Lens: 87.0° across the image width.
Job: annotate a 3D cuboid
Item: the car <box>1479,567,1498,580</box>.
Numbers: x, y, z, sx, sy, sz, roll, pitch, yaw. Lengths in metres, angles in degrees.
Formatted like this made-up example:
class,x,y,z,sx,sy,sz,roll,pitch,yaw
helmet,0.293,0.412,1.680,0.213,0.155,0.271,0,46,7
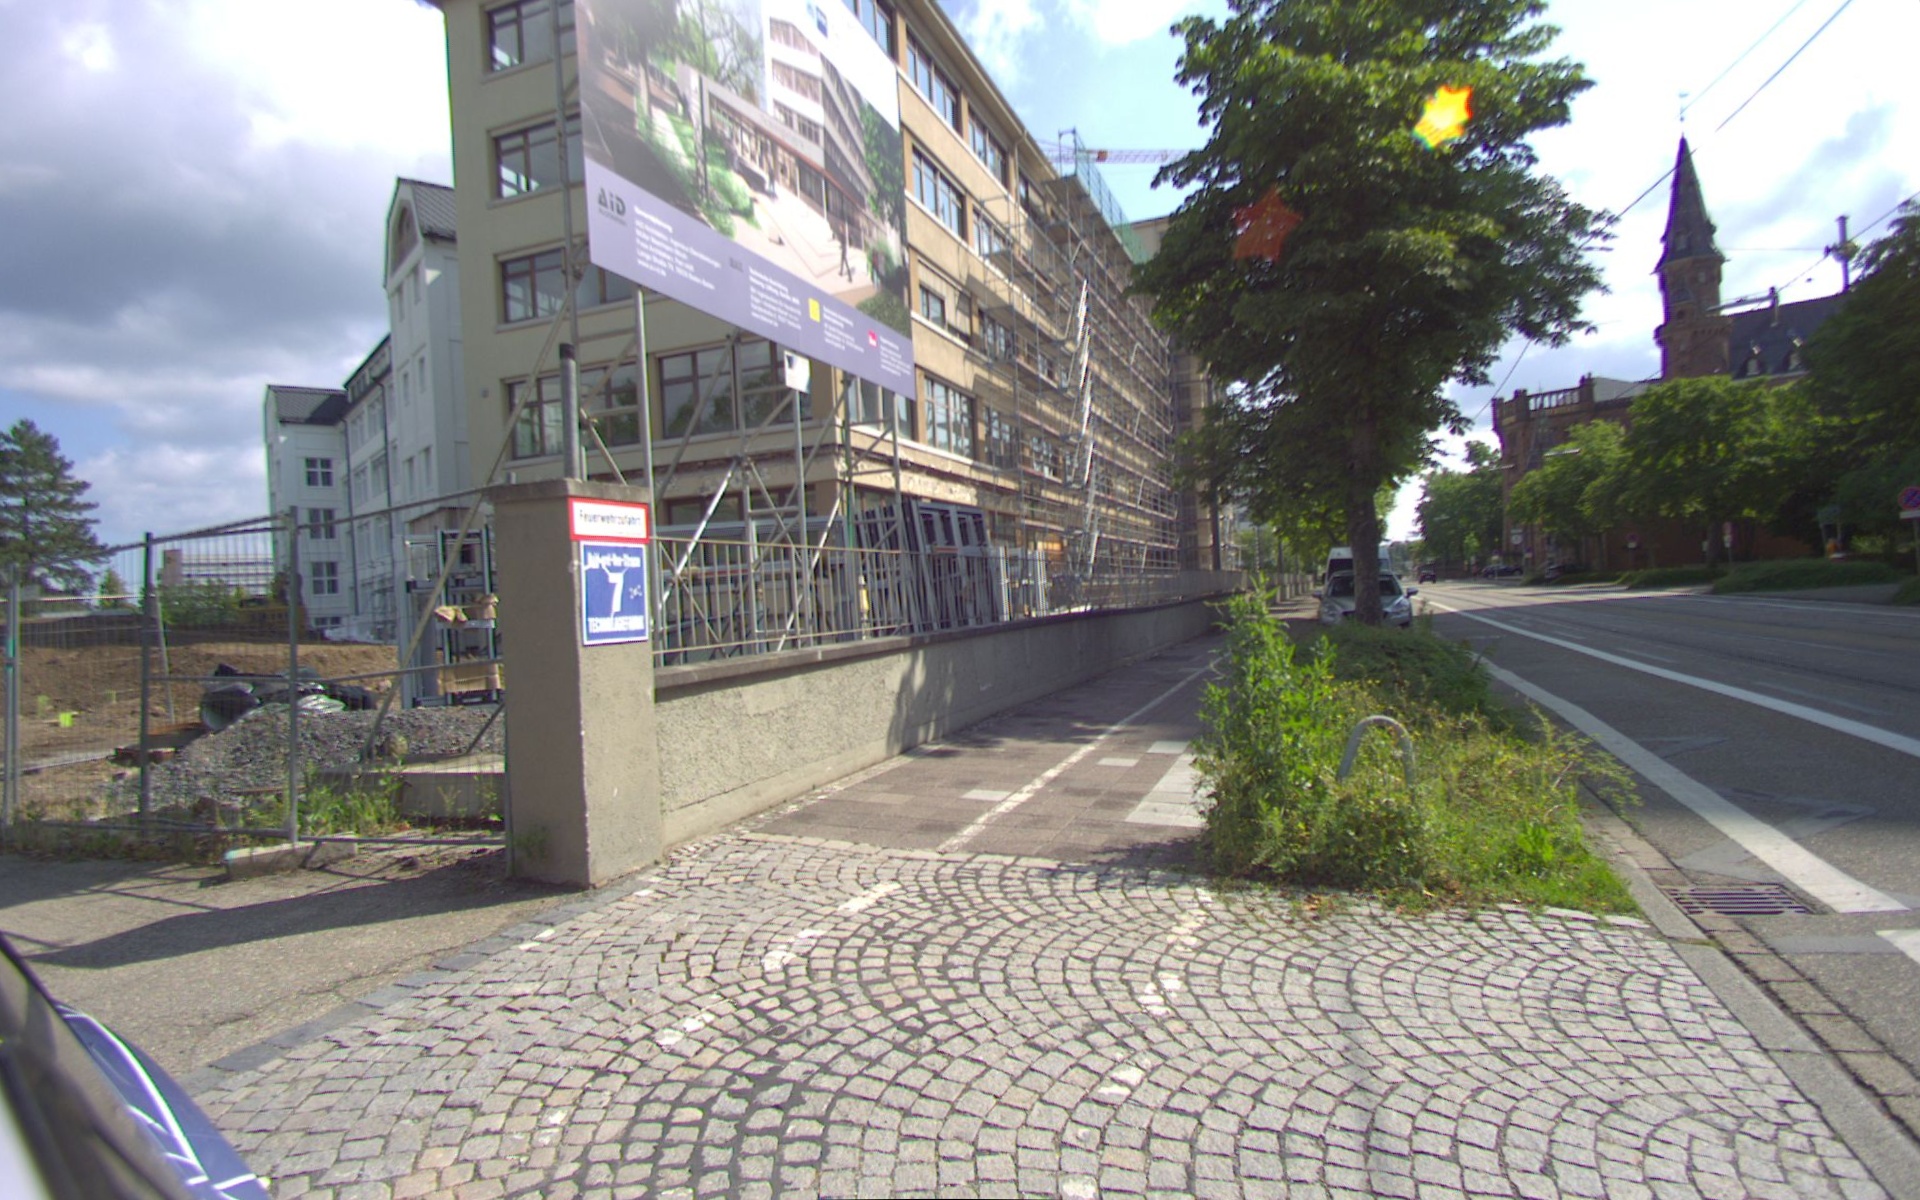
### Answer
class,x,y,z,sx,sy,sz,roll,pitch,yaw
car,63.769,-3.190,122.153,1.618,1.585,3.924,0,2,21

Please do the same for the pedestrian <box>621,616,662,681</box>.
class,x,y,z,sx,sy,sz,roll,pitch,yaw
pedestrian,-6.813,1.039,21.638,0.635,1.322,0.457,-5,2,42

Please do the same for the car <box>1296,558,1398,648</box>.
class,x,y,z,sx,sy,sz,roll,pitch,yaw
car,8.387,0.010,22.106,1.738,1.618,4.208,-6,-1,20

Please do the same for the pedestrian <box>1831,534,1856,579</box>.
class,x,y,z,sx,sy,sz,roll,pitch,yaw
pedestrian,35.869,-1.783,41.086,0.459,1.767,0.531,-6,2,15

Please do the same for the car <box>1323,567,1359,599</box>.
class,x,y,z,sx,sy,sz,roll,pitch,yaw
car,22.550,-1.031,59.985,1.738,1.618,4.208,-6,-1,20

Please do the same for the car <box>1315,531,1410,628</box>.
class,x,y,z,sx,sy,sz,roll,pitch,yaw
car,12.599,-0.649,31.960,2.322,2.579,5.355,-6,-1,20

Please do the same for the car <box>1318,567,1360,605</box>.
class,x,y,z,sx,sy,sz,roll,pitch,yaw
car,18.783,-0.719,50.251,1.738,1.618,4.208,-6,-1,20

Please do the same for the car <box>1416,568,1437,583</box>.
class,x,y,z,sx,sy,sz,roll,pitch,yaw
car,58.149,-3.067,126.275,1.879,1.656,4.210,-4,0,19
